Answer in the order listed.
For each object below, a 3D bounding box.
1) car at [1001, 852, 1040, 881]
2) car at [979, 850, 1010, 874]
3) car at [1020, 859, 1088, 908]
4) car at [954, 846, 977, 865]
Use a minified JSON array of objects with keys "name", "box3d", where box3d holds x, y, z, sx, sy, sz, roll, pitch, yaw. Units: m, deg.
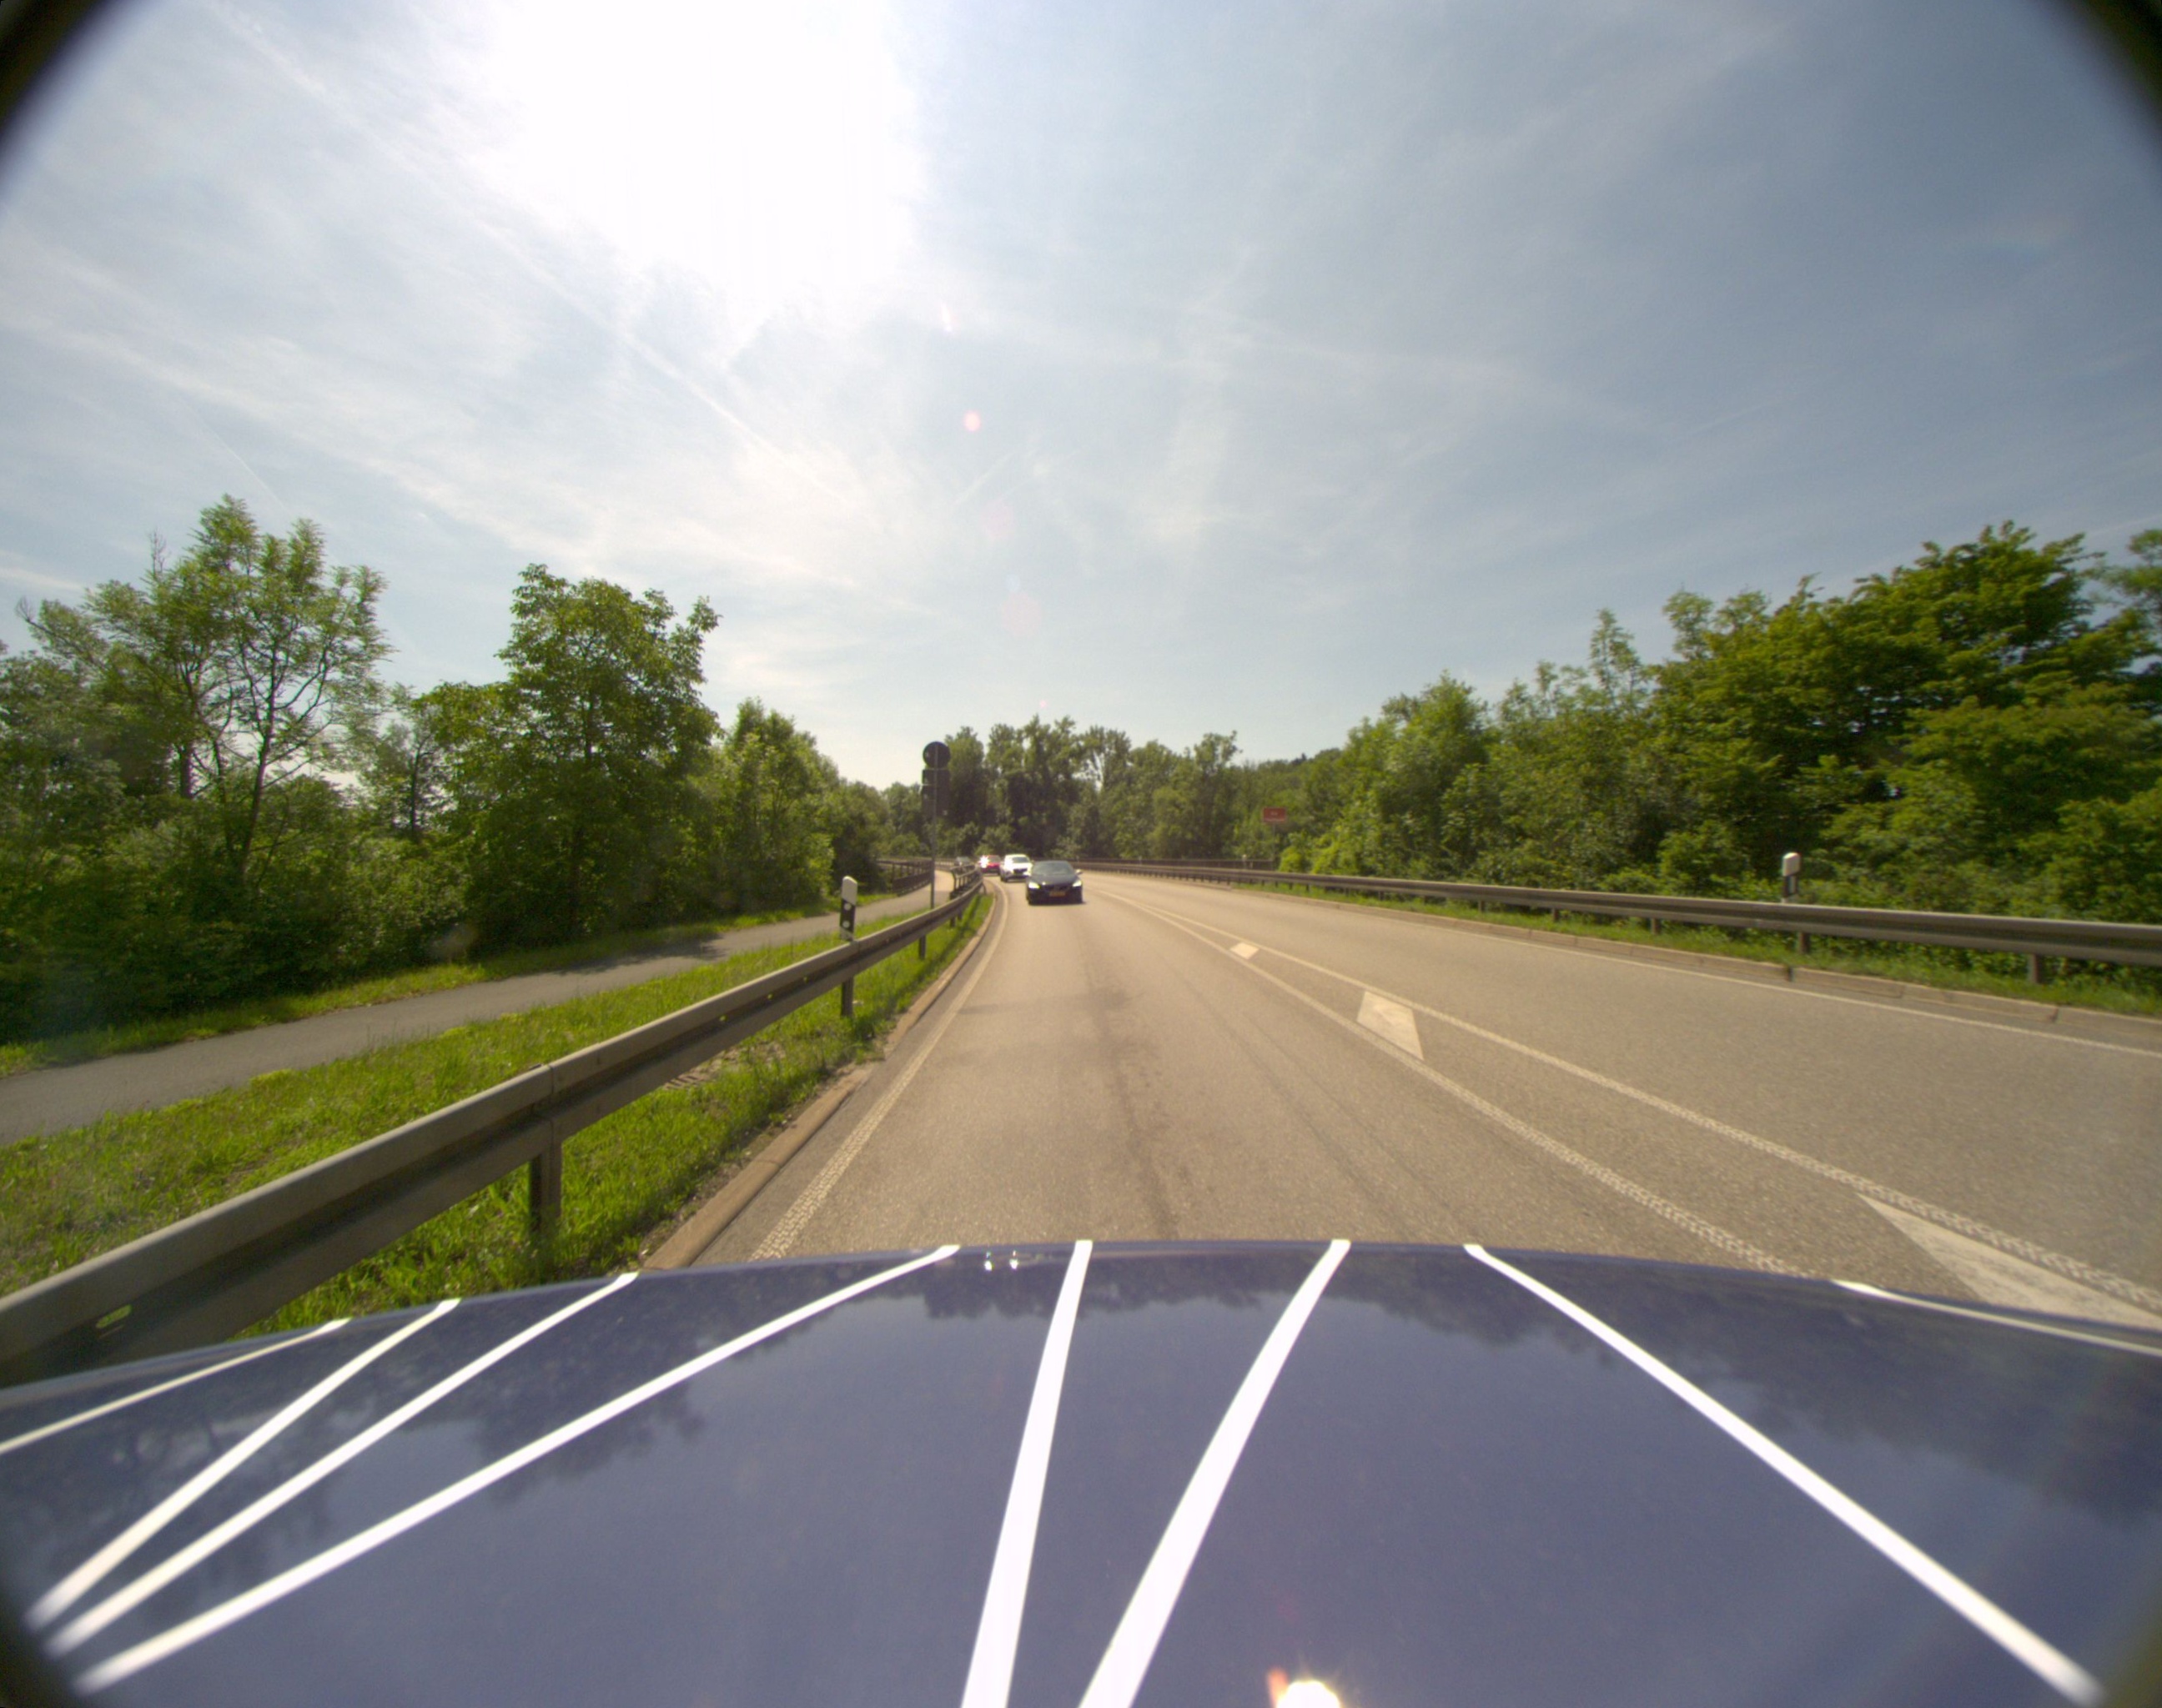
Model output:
[{"name":"car","box3d":[-3.765,0.752,46.711,1.911,1.638,3.947,-3,0,-10]},{"name":"car","box3d":[-7.051,0.662,61.627,2.000,1.765,3.996,-3,0,-12]},{"name":"car","box3d":[-1.012,0.932,25.973,1.910,1.413,3.947,-3,1,-7]},{"name":"car","box3d":[-13.107,0.128,86.069,2.001,2.002,3.994,-3,2,-15]}]
